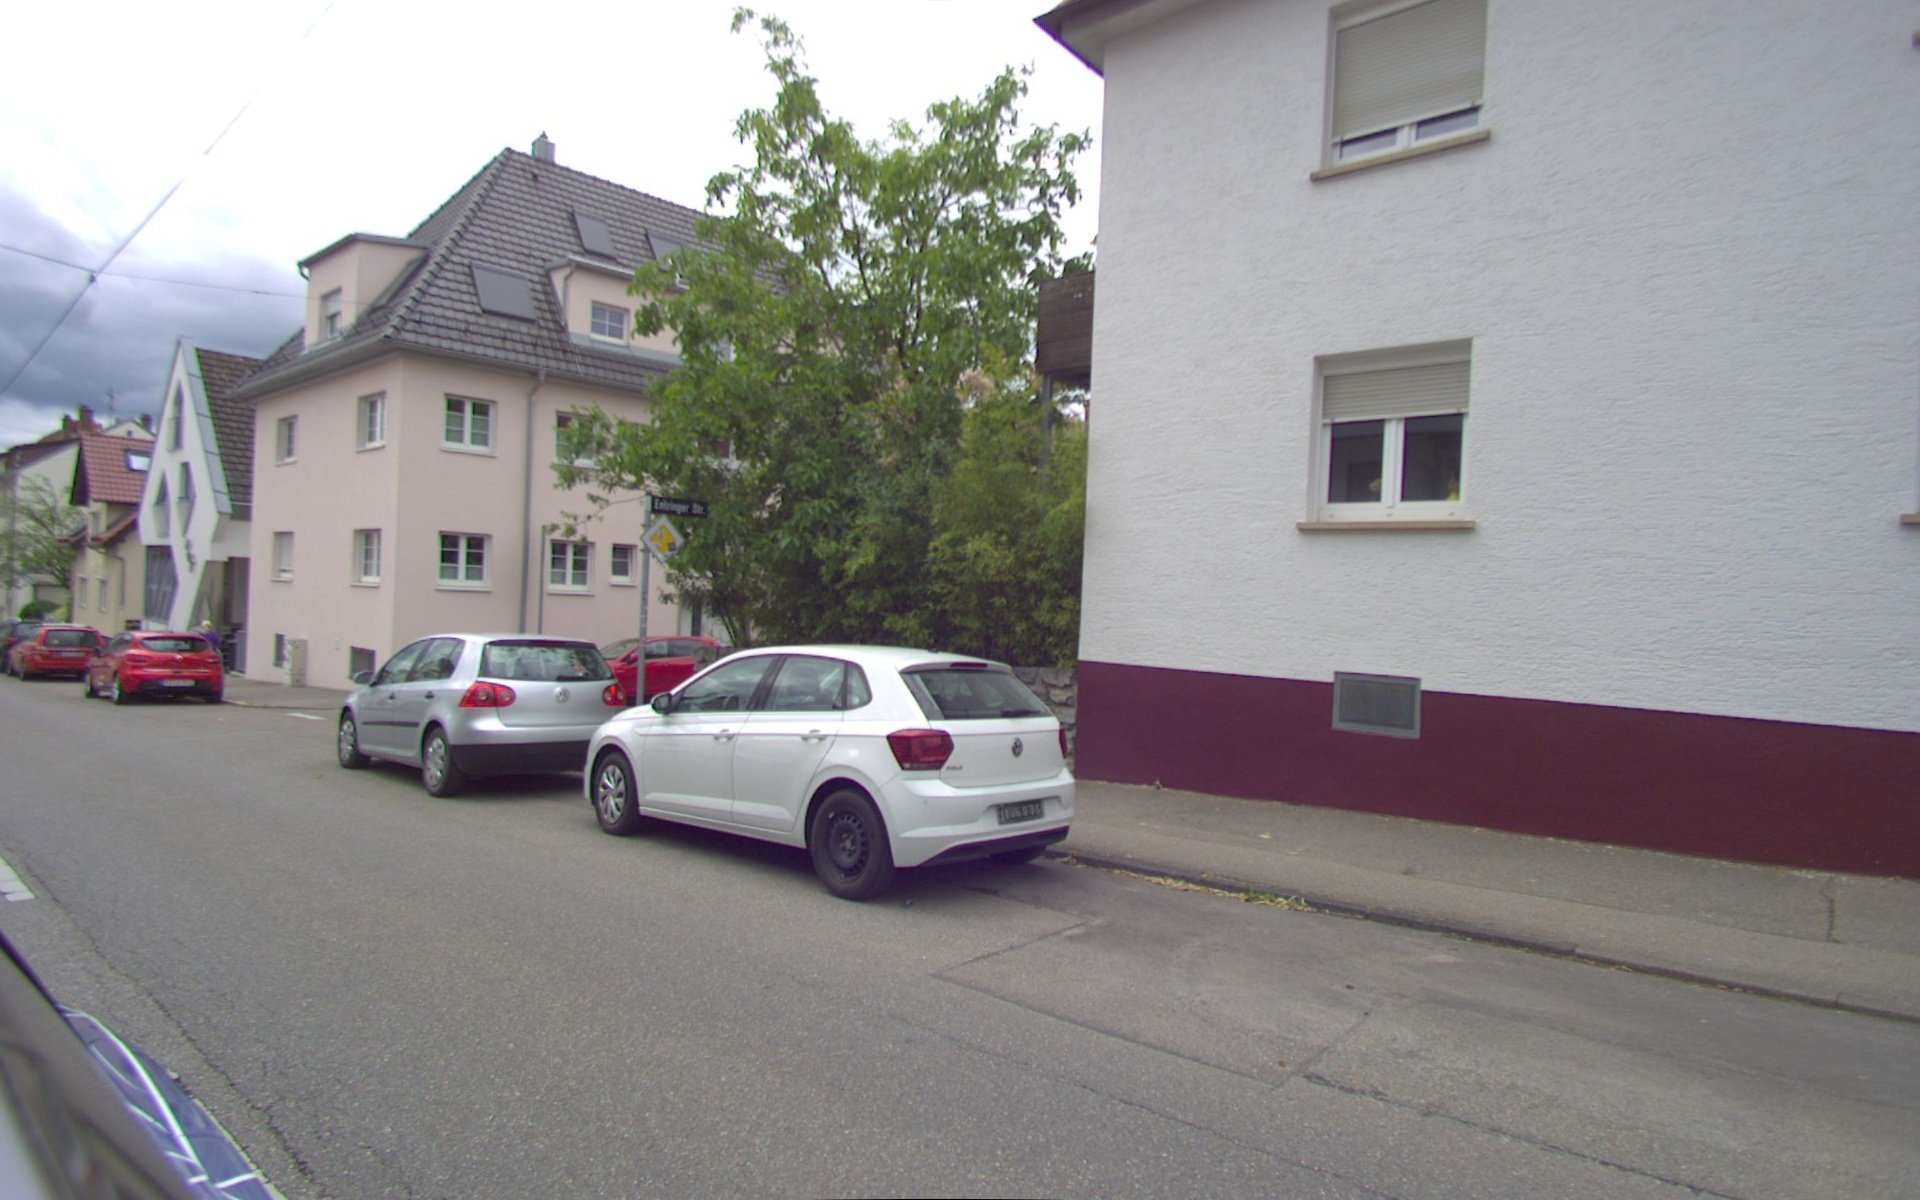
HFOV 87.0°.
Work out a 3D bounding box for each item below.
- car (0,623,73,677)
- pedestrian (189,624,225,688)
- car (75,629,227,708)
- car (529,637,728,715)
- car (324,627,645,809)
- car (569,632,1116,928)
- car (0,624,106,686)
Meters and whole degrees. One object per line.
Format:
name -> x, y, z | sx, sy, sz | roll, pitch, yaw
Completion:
car -> -29.010, 1.519, 31.383 | 3.733, 1.544, 1.684 | -1, -5, 41
pedestrian -> -18.654, 1.377, 25.071 | 0.600, 1.544, 0.576 | -1, 0, 41
car -> -16.602, 1.373, 20.722 | 3.733, 1.421, 1.684 | -1, -5, 41
car -> -6.998, 1.551, 21.566 | 3.681, 1.421, 1.708 | 1, -1, -45
car -> -4.908, 1.042, 10.218 | 3.774, 1.458, 1.631 | -1, -3, 43
car -> -0.982, 0.994, 7.055 | 3.809, 1.458, 1.632 | -1, -3, 41
car -> -25.250, 1.508, 28.119 | 3.733, 1.544, 1.684 | -1, -5, 41
